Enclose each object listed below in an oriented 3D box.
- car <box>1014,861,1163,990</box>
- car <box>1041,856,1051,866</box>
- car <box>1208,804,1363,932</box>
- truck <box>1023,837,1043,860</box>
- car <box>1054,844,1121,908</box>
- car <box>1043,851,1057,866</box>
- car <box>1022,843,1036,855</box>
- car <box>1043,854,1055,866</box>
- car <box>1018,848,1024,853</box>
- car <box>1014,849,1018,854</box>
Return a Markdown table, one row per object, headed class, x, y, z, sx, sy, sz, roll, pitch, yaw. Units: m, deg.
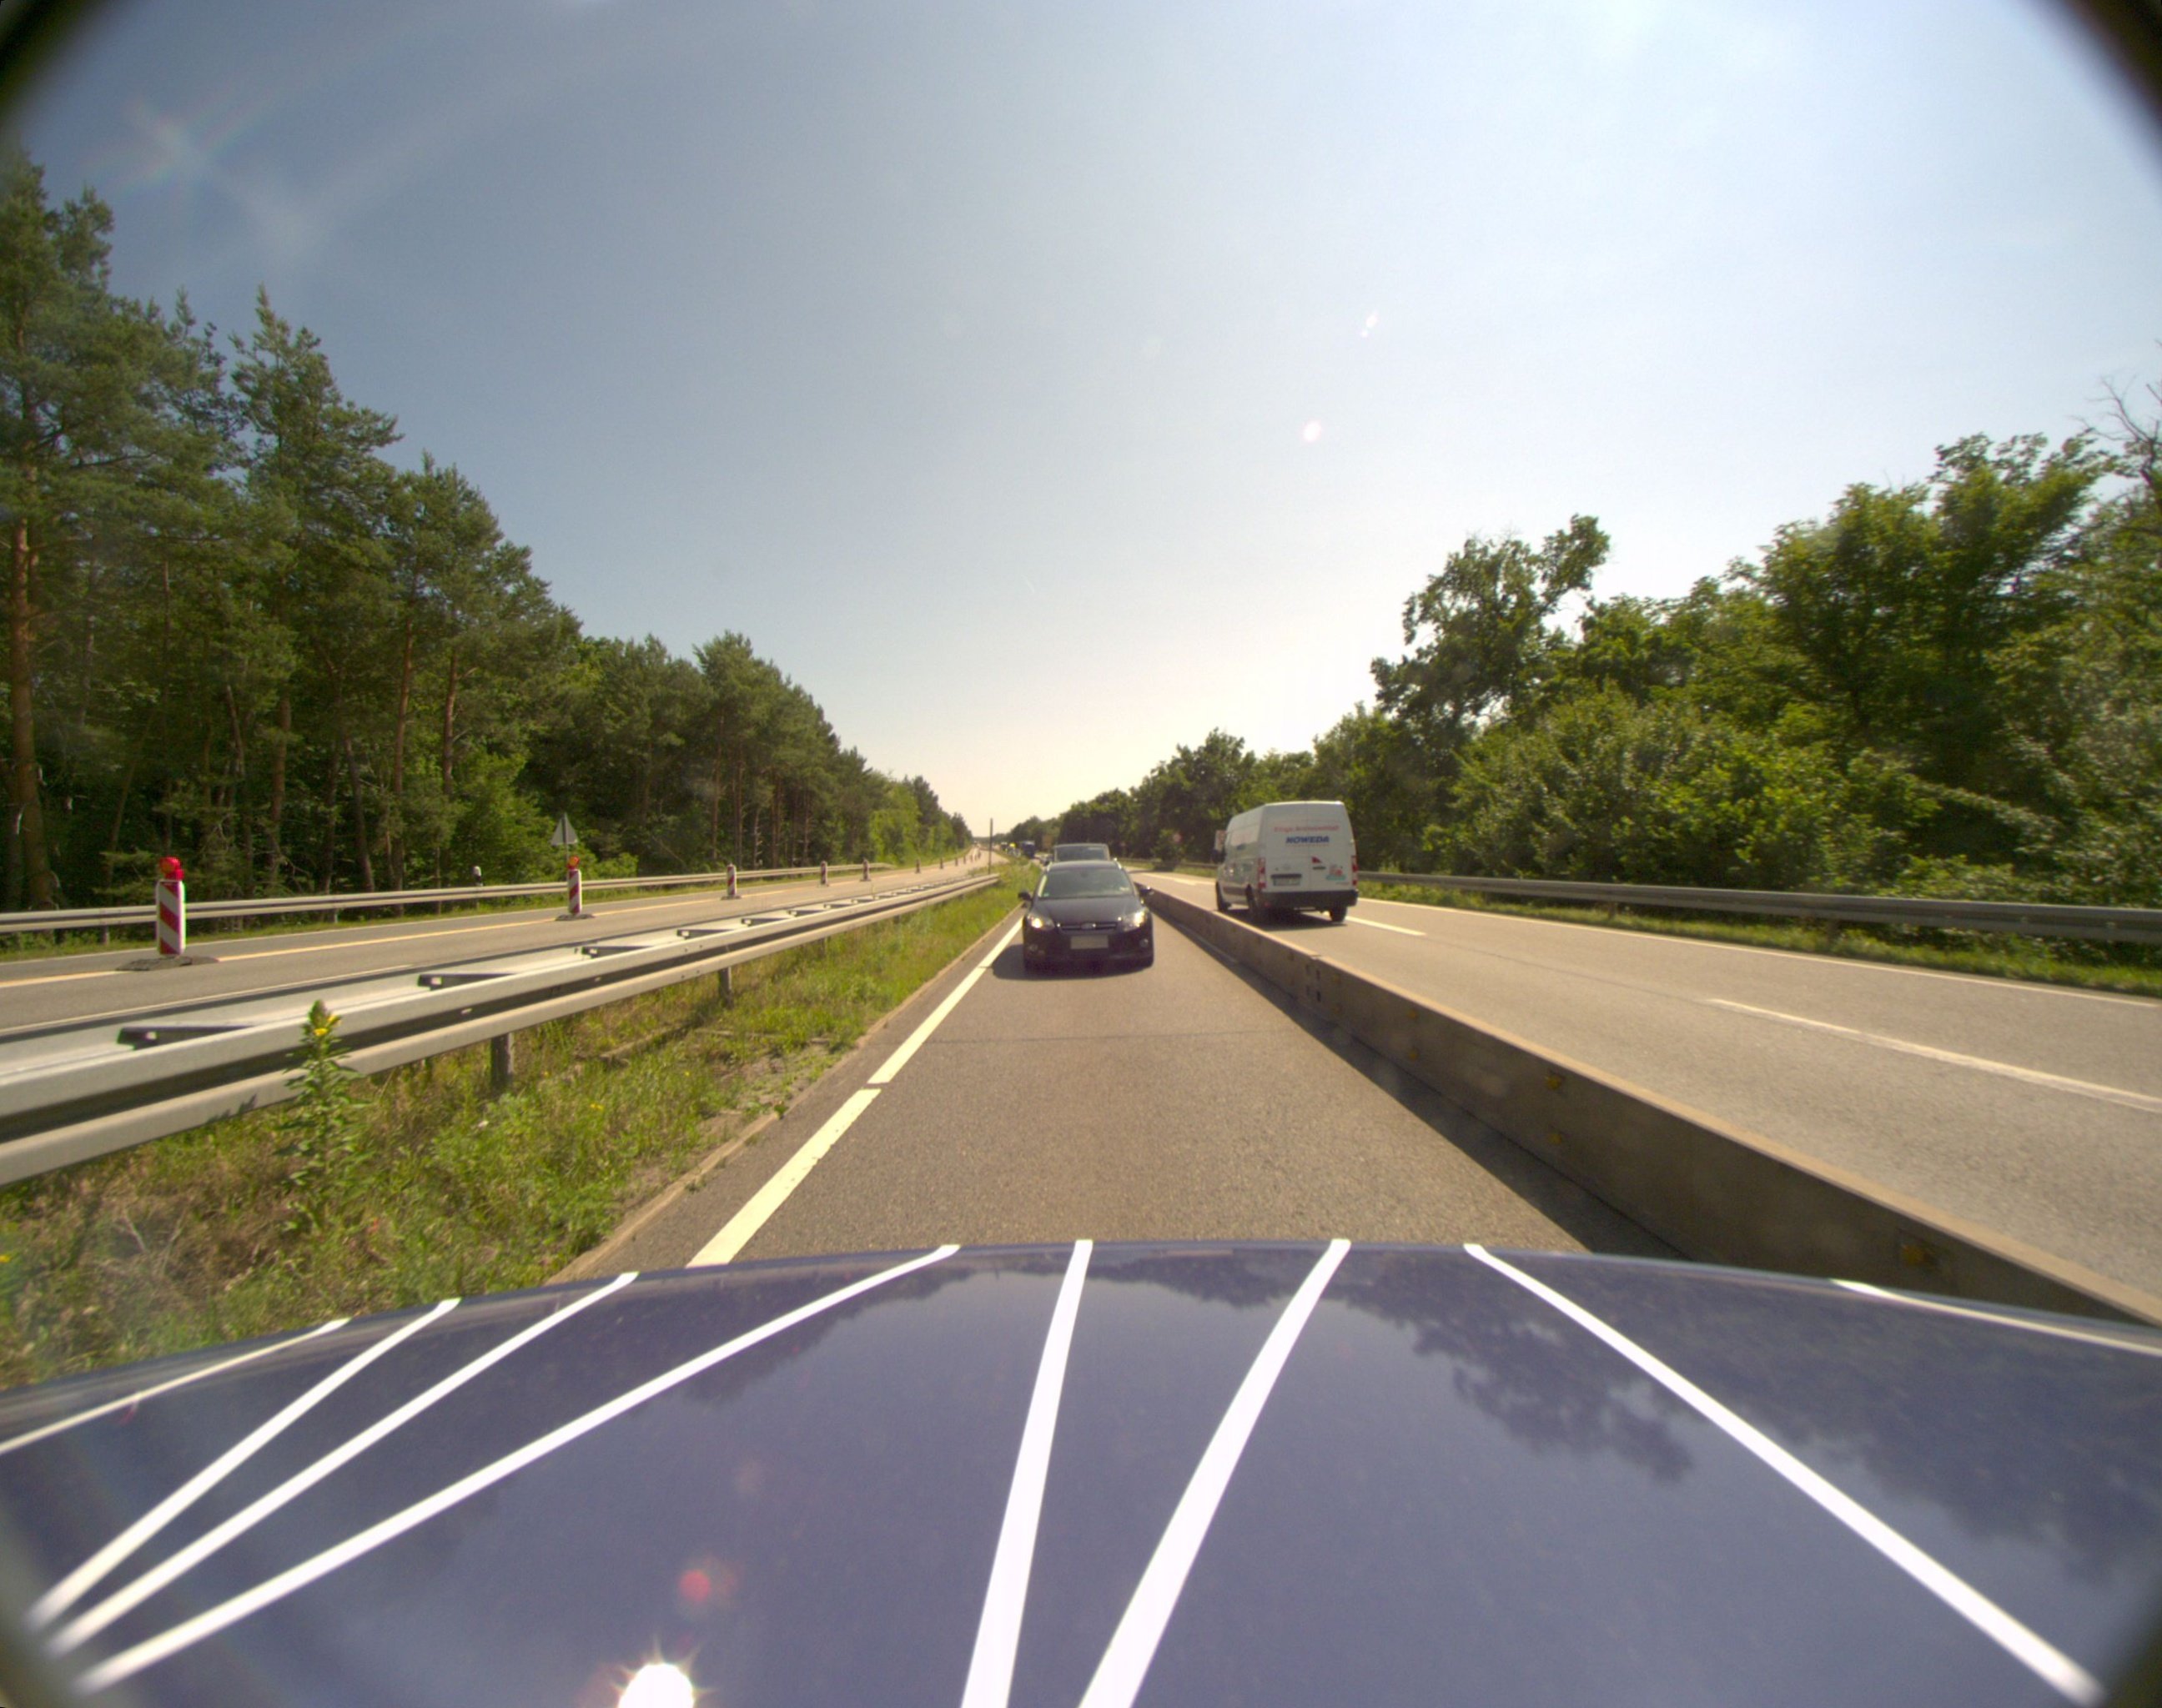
| class | x | y | z | sx | sy | sz | roll | pitch | yaw |
| --- | --- | --- | --- | --- | --- | --- | --- | --- | --- |
| car | 0.028 | 0.920 | 12.004 | 1.847 | 1.537 | 4.934 | -1 | 0 | -2 |
| car | -5.520 | 1.124 | 121.213 | 1.527 | 1.647 | 3.753 | 0 | 0 | -2 |
| car | 4.512 | 0.268 | 17.791 | 2.067 | 2.471 | 5.560 | -2 | 0 | 0 |
| truck | -11.114 | -1.226 | 175.539 | 3.831 | 5.266 | 11.238 | -1 | 0 | -7 |
| car | 0.106 | 0.667 | 25.510 | 1.960 | 1.901 | 4.934 | -1 | 0 | -3 |
| car | -3.364 | 0.491 | 82.939 | 1.527 | 1.647 | 3.980 | -1 | 0 | -2 |
| car | -7.873 | -0.684 | 115.298 | 1.999 | 1.773 | 3.999 | -1 | 0 | -2 |
| car | -4.328 | 0.794 | 102.455 | 1.527 | 1.647 | 3.980 | -1 | 0 | -2 |
| car | -17.288 | -1.024 | 220.429 | 1.527 | 1.647 | 3.980 | -1 | 0 | -2 |
| car | -21.974 | -0.810 | 257.098 | 1.528 | 1.647 | 3.978 | -1 | 0 | -5 |
